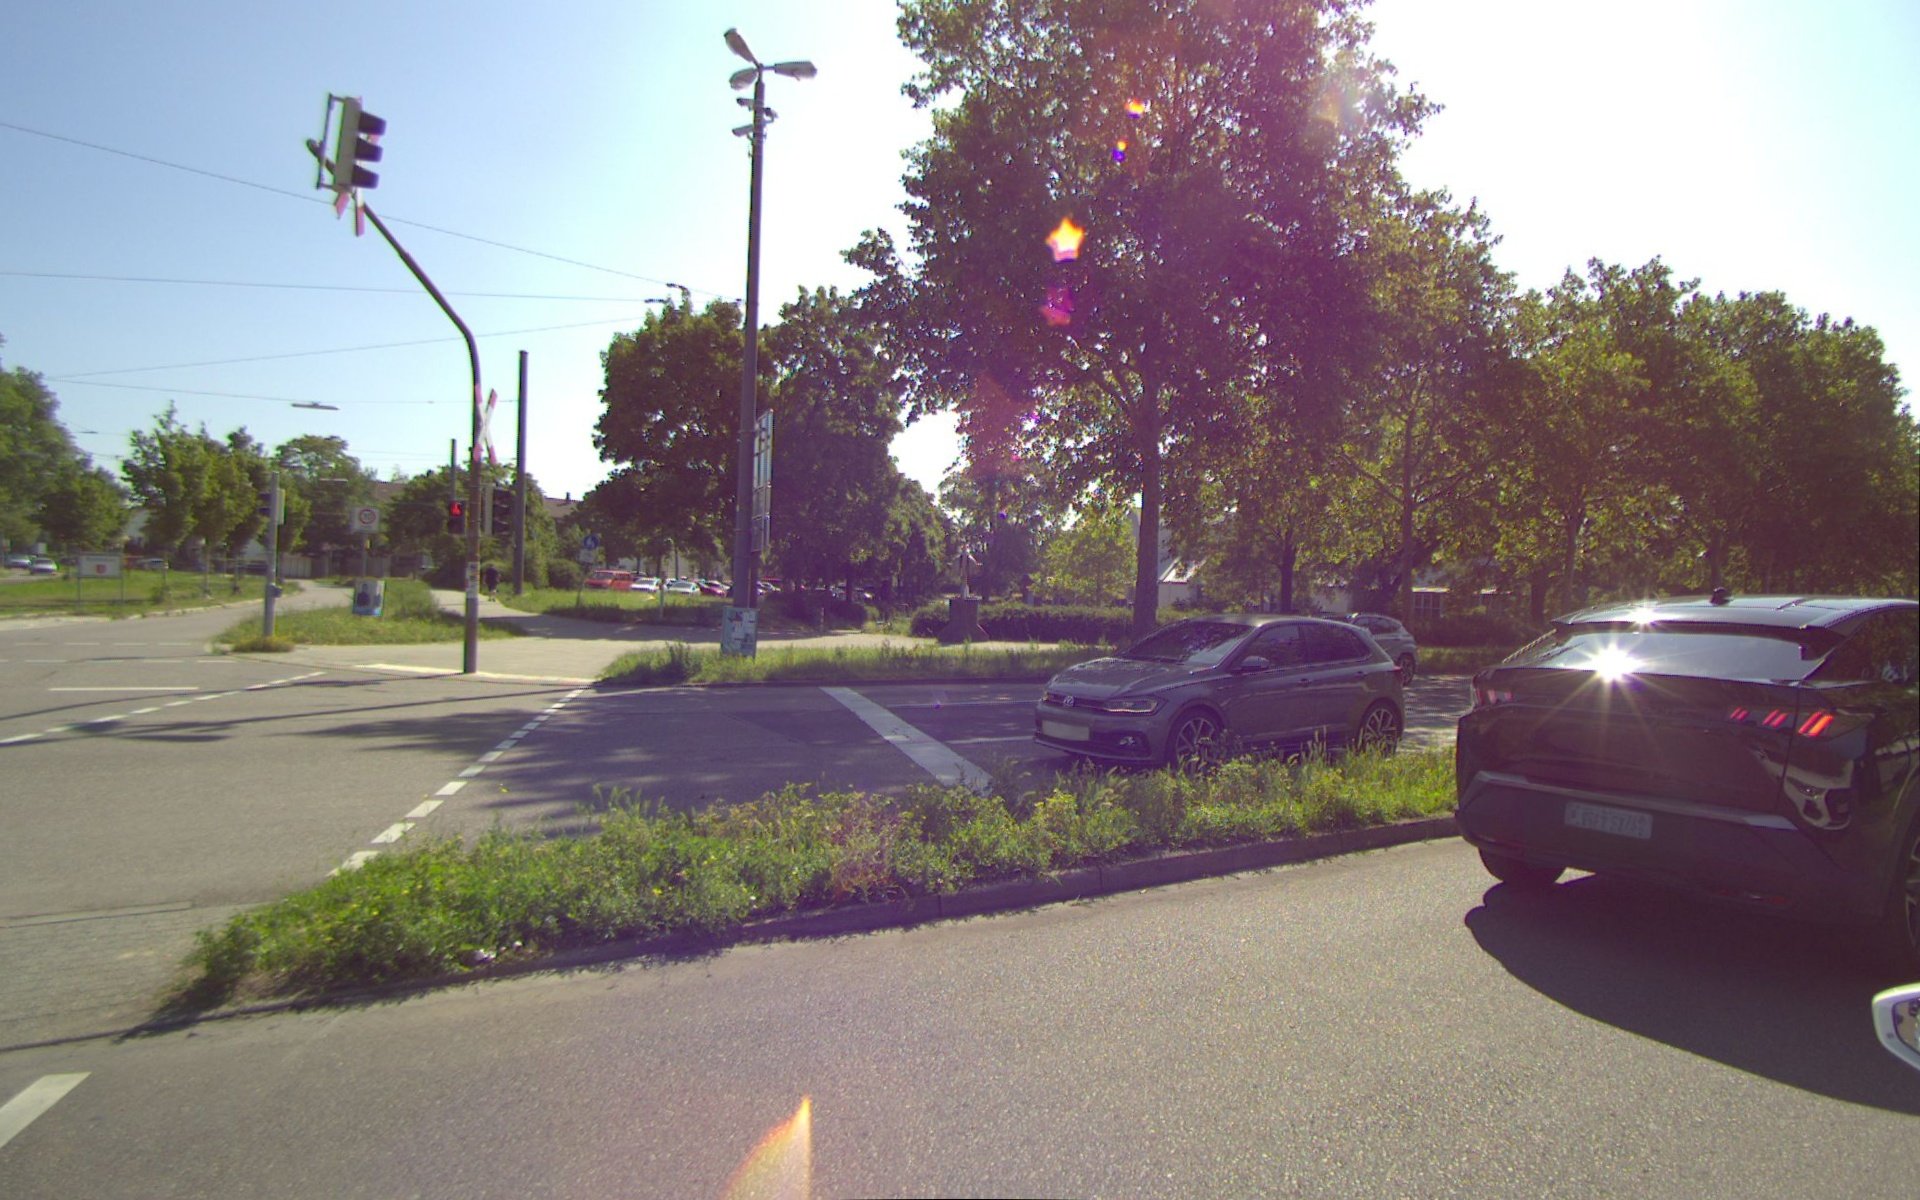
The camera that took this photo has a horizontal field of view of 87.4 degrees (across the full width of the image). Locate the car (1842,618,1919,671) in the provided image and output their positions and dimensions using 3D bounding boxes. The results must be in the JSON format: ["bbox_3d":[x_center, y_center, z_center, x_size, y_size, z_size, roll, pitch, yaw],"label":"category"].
[{"bbox_3d":[35.256,1.661,38.073,4.946,1.863,1.674,2,0,-36],"label":"car"}]

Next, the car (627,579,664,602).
[{"bbox_3d":[-21.680,-0.669,69.337,1.322,1.466,3.342,3,0,1],"label":"car"}]

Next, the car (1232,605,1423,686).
[{"bbox_3d":[8.106,0.976,22.030,4.387,1.610,1.698,2,-1,-34],"label":"car"}]

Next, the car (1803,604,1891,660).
[{"bbox_3d":[45.121,1.668,51.011,7.153,2.648,2.044,2,-1,-38],"label":"car"}]

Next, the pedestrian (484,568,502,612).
[{"bbox_3d":[-21.814,-0.459,46.969,0.702,2.040,0.791,1,1,-24],"label":"pedestrian"}]

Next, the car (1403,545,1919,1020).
[{"bbox_3d":[4.665,0.704,5.570,4.384,1.719,1.863,1,0,-31],"label":"car"}]

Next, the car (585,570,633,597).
[{"bbox_3d":[-24.299,-1.097,69.659,1.779,1.725,3.988,3,0,1],"label":"car"}]

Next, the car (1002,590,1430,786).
[{"bbox_3d":[2.574,0.752,9.778,4.085,1.528,1.684,2,0,-33],"label":"car"}]

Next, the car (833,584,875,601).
[{"bbox_3d":[-10.017,-0.706,95.001,3.926,1.511,1.815,2,0,-7],"label":"car"}]

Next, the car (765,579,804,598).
[{"bbox_3d":[-18.820,-1.256,107.615,3.853,1.863,1.769,3,0,-4],"label":"car"}]

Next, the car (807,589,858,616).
[{"bbox_3d":[-10.359,0.177,81.723,3.924,2.040,1.816,2,0,-4],"label":"car"}]

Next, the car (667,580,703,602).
[{"bbox_3d":[-18.906,-0.616,69.247,1.420,1.466,3.342,3,0,1],"label":"car"}]

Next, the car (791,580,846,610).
[{"bbox_3d":[-10.590,-0.365,75.302,3.924,2.040,1.816,2,0,-4],"label":"car"}]
